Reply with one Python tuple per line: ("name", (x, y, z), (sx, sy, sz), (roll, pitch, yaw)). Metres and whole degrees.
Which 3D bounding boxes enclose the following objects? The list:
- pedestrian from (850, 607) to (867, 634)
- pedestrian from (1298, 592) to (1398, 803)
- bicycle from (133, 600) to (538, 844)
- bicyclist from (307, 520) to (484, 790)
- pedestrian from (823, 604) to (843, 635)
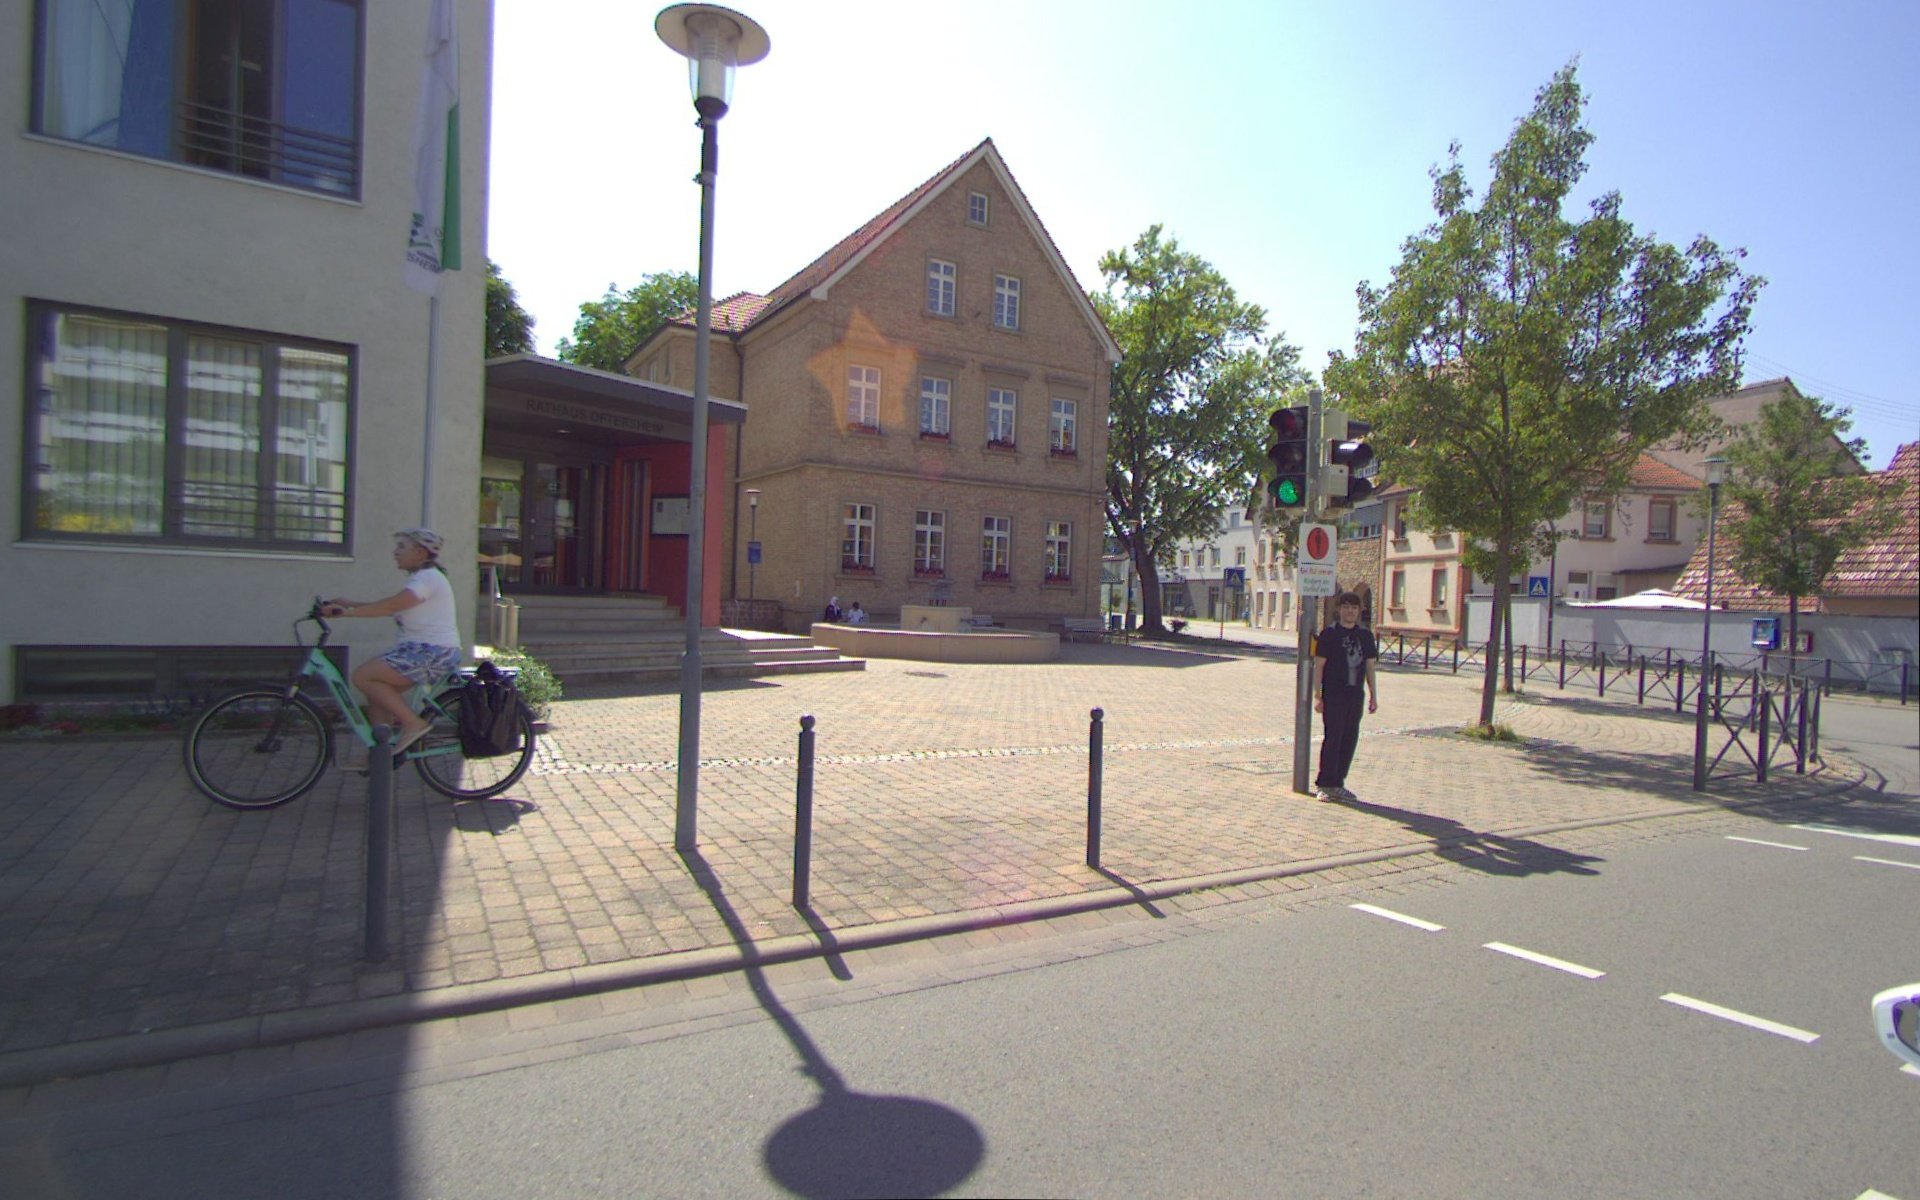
("pedestrian", (-2.875, 0.586, 28.432), (0.353, 0.742, 0.288), (2, 0, 43))
("pedestrian", (3.161, 0.770, 8.222), (0.546, 1.640, 0.550), (3, 0, 4))
("bicycle", (-3.683, 0.676, 6.100), (1.950, 1.269, 0.704), (2, 1, -32))
("bicyclist", (-3.480, 0.319, 6.195), (0.861, 1.526, 0.710), (2, 0, -33))
("pedestrian", (-3.533, 0.546, 27.942), (0.356, 0.828, 0.365), (2, 0, 43))
